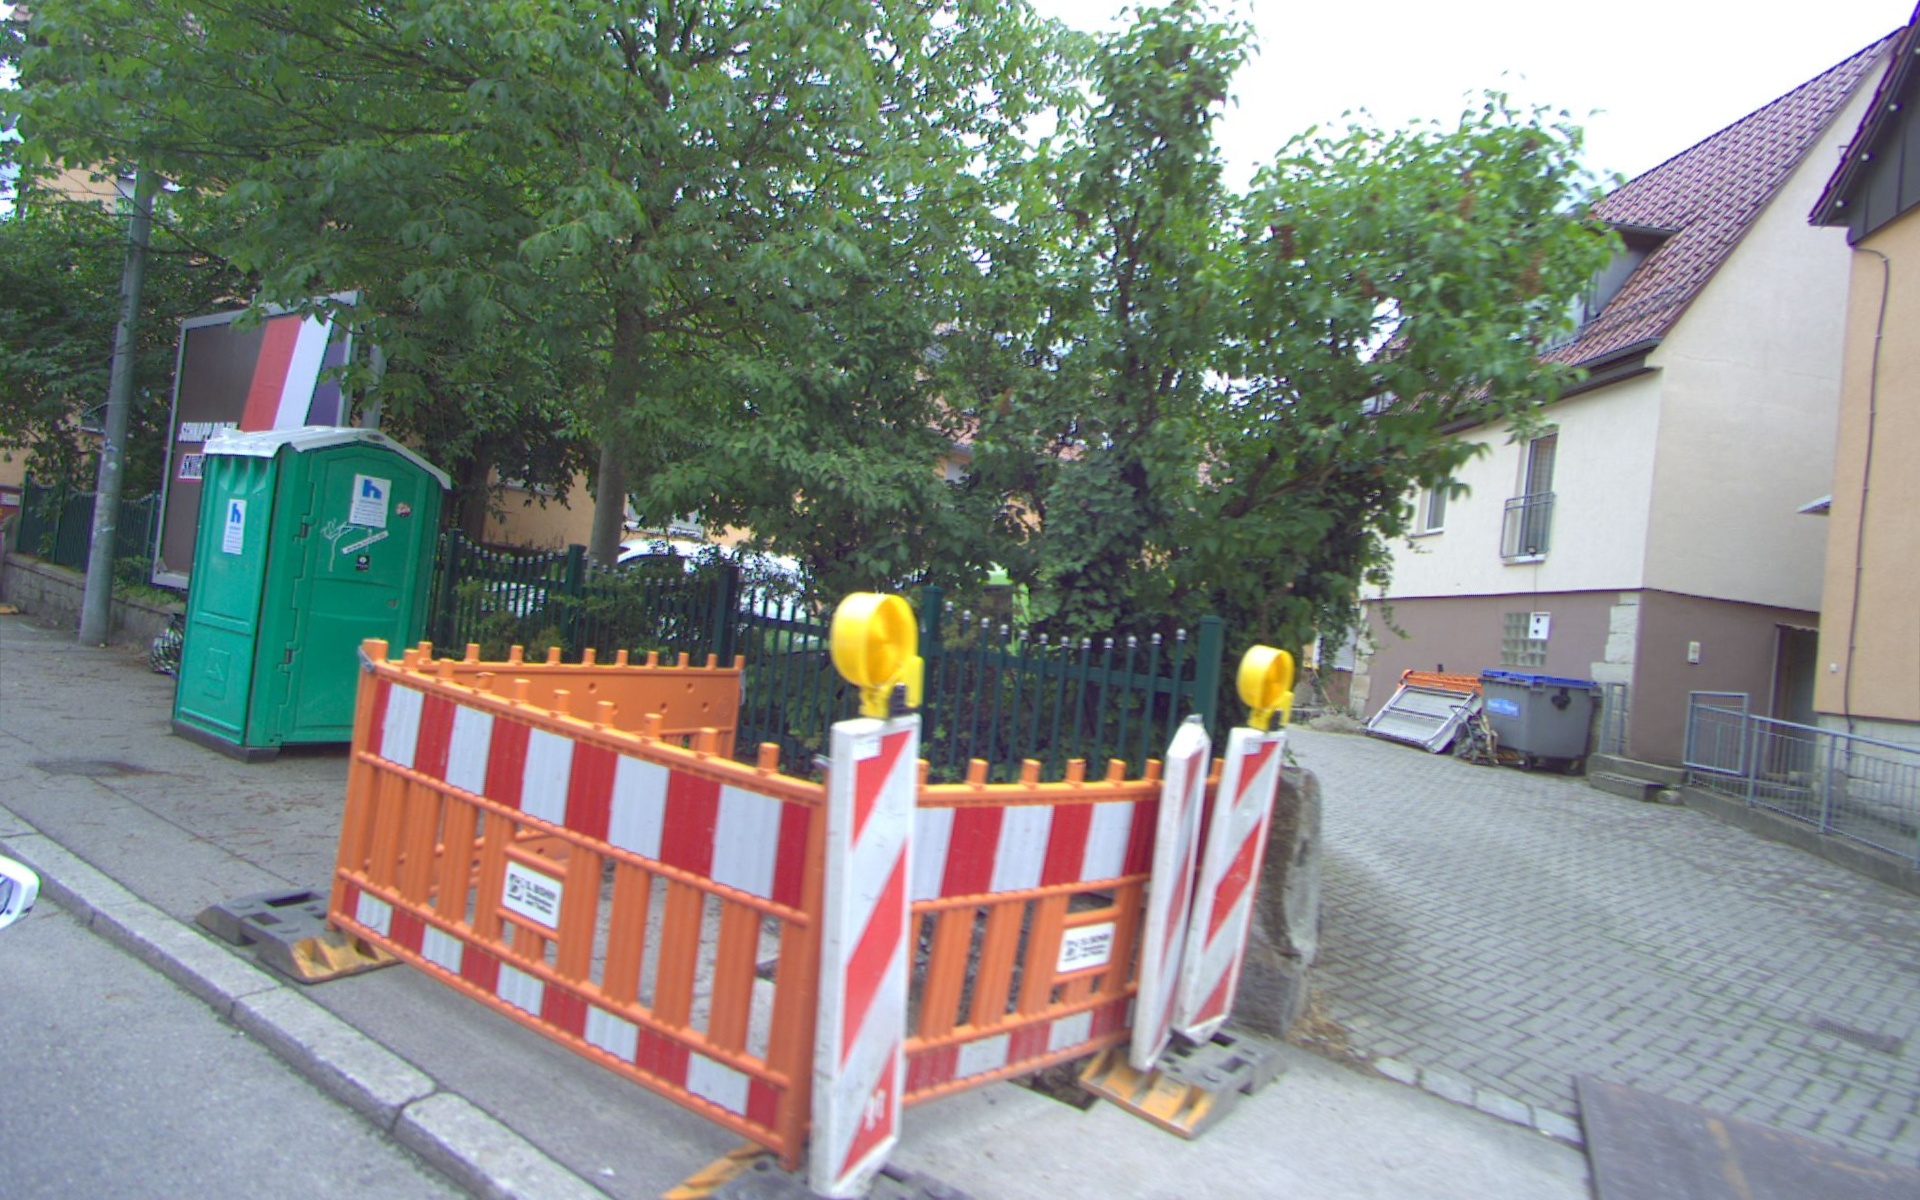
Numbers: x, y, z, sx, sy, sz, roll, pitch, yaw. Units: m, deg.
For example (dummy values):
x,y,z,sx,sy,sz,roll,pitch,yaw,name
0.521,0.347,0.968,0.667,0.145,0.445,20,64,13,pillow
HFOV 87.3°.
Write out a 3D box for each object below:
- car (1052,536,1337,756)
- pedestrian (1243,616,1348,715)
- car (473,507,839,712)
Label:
x,y,z,sx,sy,sz,roll,pitch,yaw,name
2.518,0.508,9.953,1.716,1.581,3.999,7,-2,27,car
8.030,1.579,24.024,1.801,2.037,1.998,7,-1,30,pedestrian
-4.039,0.186,13.454,4.182,2.057,1.985,8,-1,-29,car
